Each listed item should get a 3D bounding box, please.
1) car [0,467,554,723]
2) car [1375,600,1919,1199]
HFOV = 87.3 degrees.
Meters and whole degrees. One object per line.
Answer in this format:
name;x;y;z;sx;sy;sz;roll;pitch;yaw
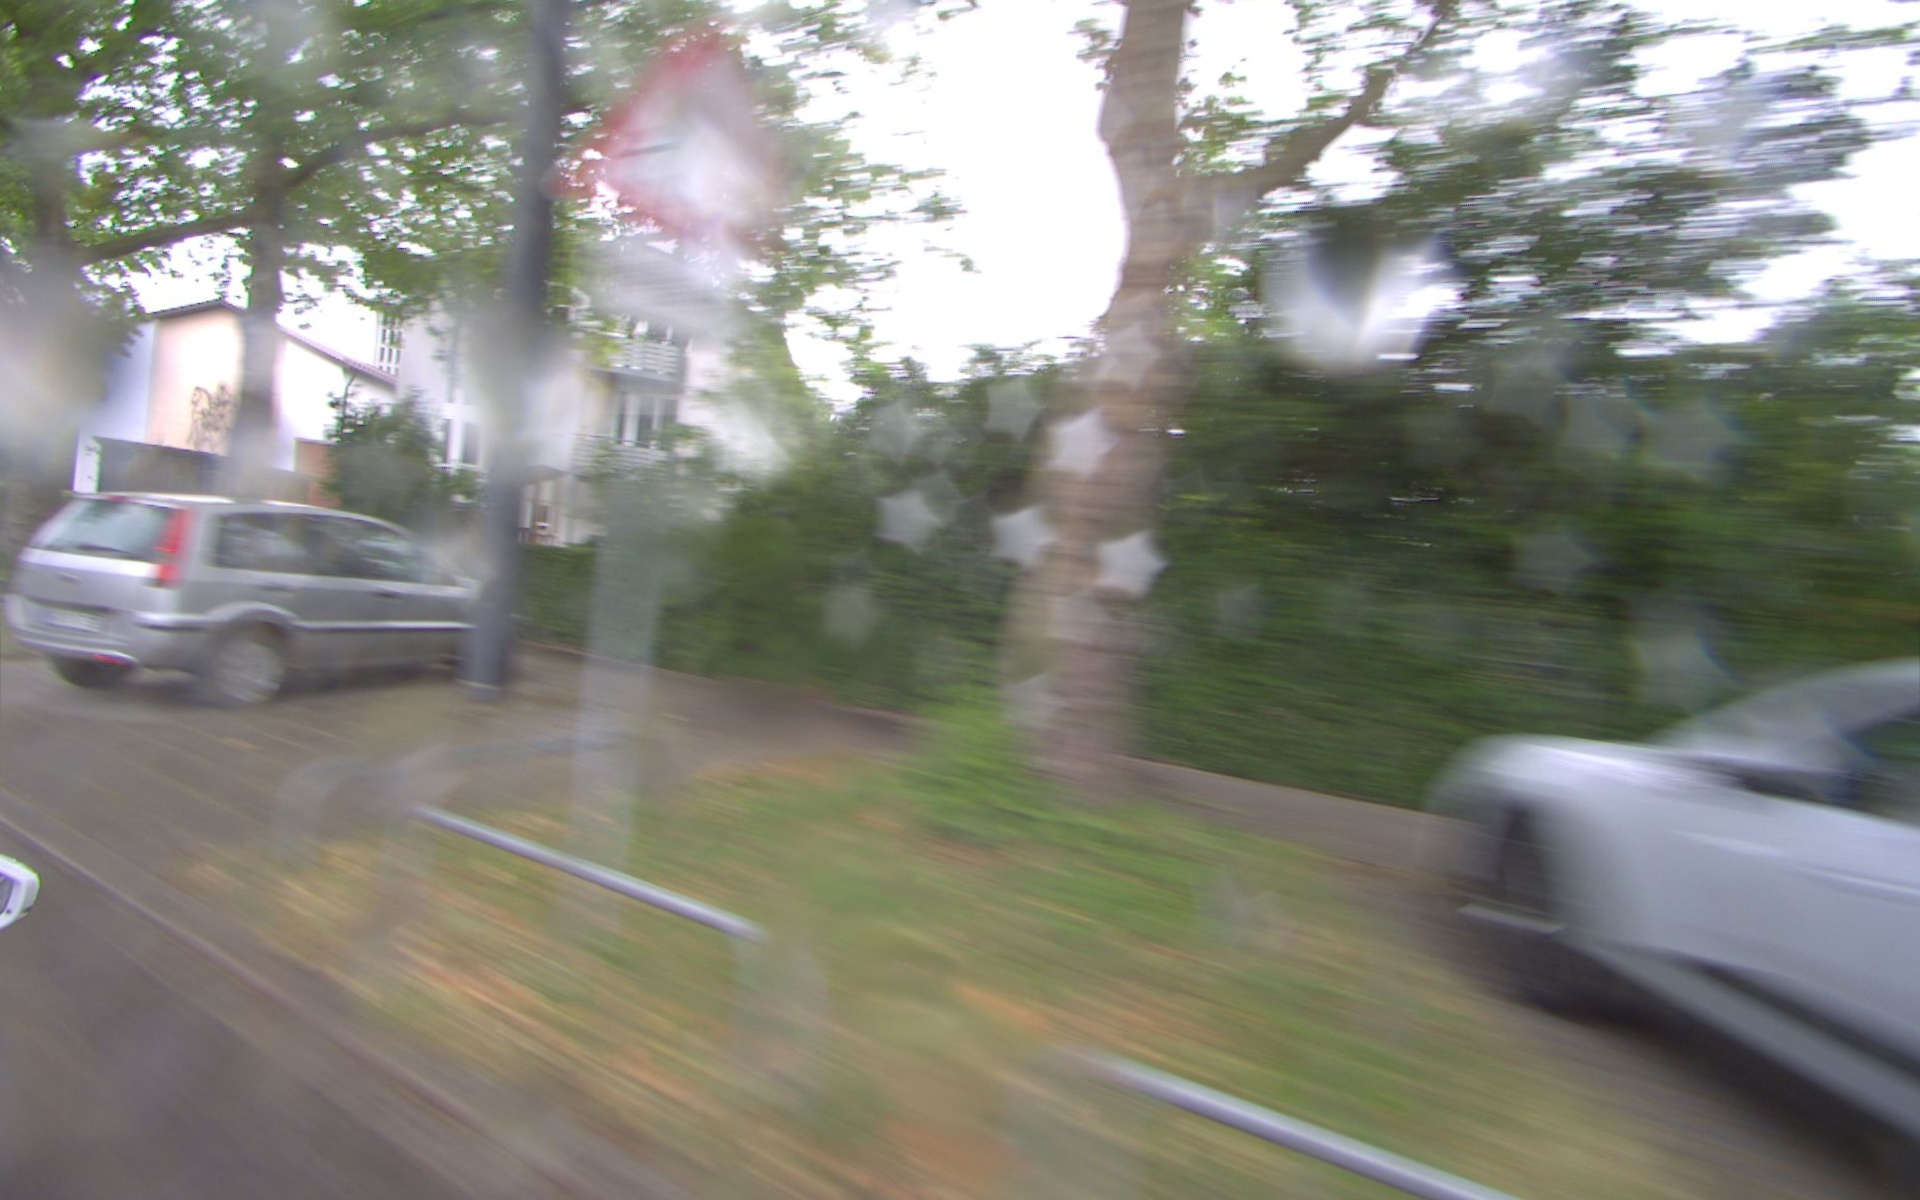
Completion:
car;-5.538;-0.049;8.666;1.589;1.587;3.864;6;2;18
car;3.356;0.974;2.813;1.959;1.689;4.770;6;0;-5
